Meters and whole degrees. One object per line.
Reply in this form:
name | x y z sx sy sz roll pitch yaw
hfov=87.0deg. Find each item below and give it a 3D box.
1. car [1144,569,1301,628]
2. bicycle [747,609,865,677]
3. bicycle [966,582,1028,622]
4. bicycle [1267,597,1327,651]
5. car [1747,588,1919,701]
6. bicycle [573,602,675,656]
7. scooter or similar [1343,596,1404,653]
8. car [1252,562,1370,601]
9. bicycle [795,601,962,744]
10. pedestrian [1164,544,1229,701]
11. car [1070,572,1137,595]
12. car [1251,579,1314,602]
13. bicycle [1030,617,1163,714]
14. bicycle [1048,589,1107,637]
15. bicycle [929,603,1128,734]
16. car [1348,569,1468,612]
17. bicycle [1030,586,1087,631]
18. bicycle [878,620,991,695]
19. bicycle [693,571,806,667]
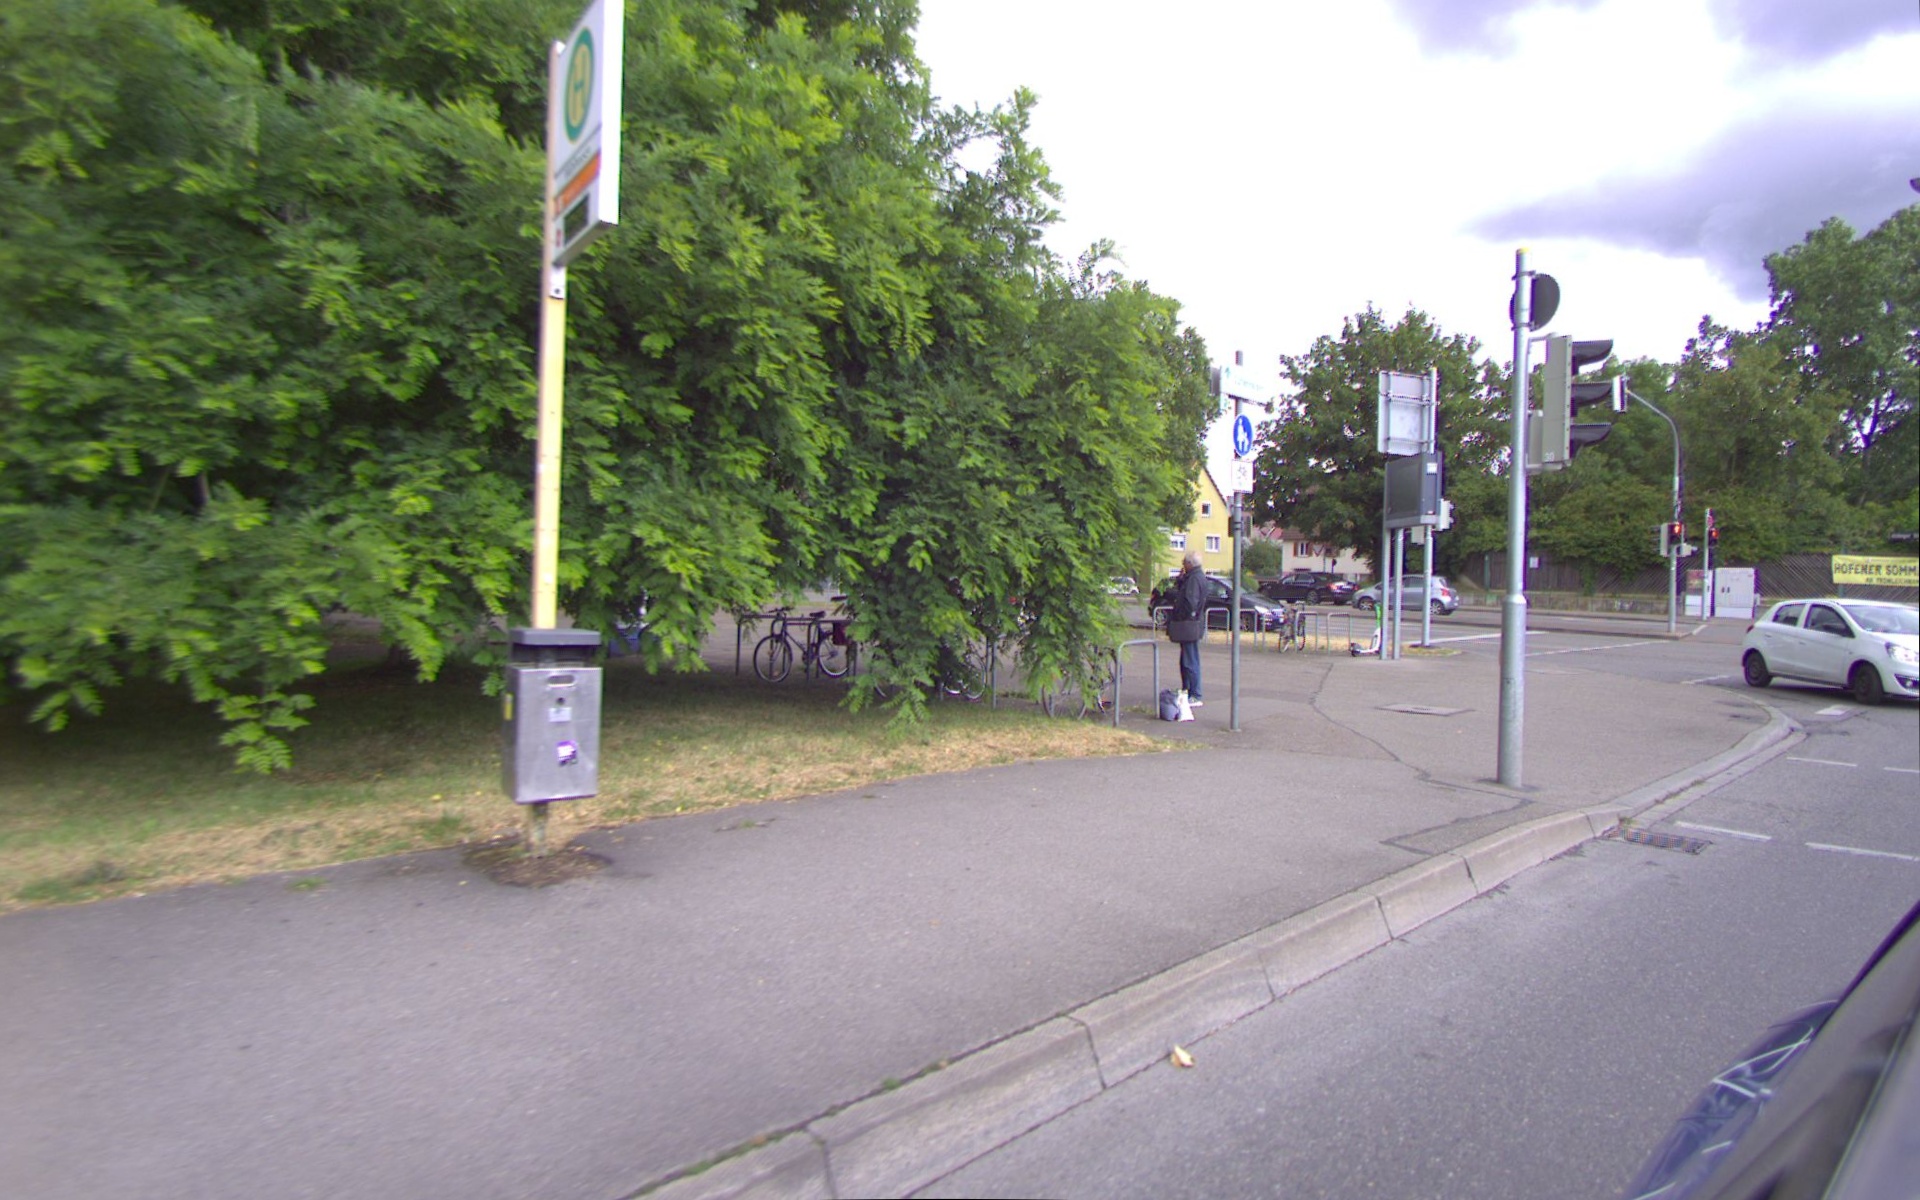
car | 7.666 -0.095 29.794 4.172 1.550 1.695 3 3 43
bicycle | -2.118 0.567 14.102 0.476 0.867 1.712 1 1 43
bicycle | 1.048 0.040 28.194 1.853 1.064 0.596 -1 3 -45
bicycle | 7.214 0.491 21.599 0.605 1.058 1.676 2 2 41
car | 13.865 0.595 15.194 1.647 1.466 3.596 1 2 9
bicycle | -5.719 0.481 17.314 0.476 0.867 1.632 1 1 43
scooter or similar | 8.500 0.484 20.795 1.209 1.126 0.654 0 2 -39
car | 15.727 -0.867 45.661 1.795 1.468 5.002 1 3 -31
bicycle | -0.714 0.503 8.050 0.579 0.951 2.047 0 1 -27
pedestrian | 2.722 0.247 11.691 0.678 1.775 0.419 0 1 7
car | 8.681 -1.005 60.984 3.729 1.337 1.813 0 1 -33
car | 21.689 -0.658 68.053 3.798 1.415 1.667 1 3 -23
bicycle | 1.490 0.658 10.789 0.521 0.917 1.826 3 1 38
bicycle | 3.021 0.305 25.914 0.580 1.129 1.788 5 4 40
bicycle | 0.537 0.540 8.749 0.535 0.936 1.871 2 1 -40
car | 16.763 -0.390 37.964 3.774 1.506 1.652 2 2 42
bicycle | 2.695 0.212 27.599 0.580 1.129 1.788 5 4 40
bicycle | -0.287 0.677 12.358 0.476 0.818 1.491 1 1 43
bicycle | -3.215 0.271 15.567 0.644 1.389 1.632 1 0 43
